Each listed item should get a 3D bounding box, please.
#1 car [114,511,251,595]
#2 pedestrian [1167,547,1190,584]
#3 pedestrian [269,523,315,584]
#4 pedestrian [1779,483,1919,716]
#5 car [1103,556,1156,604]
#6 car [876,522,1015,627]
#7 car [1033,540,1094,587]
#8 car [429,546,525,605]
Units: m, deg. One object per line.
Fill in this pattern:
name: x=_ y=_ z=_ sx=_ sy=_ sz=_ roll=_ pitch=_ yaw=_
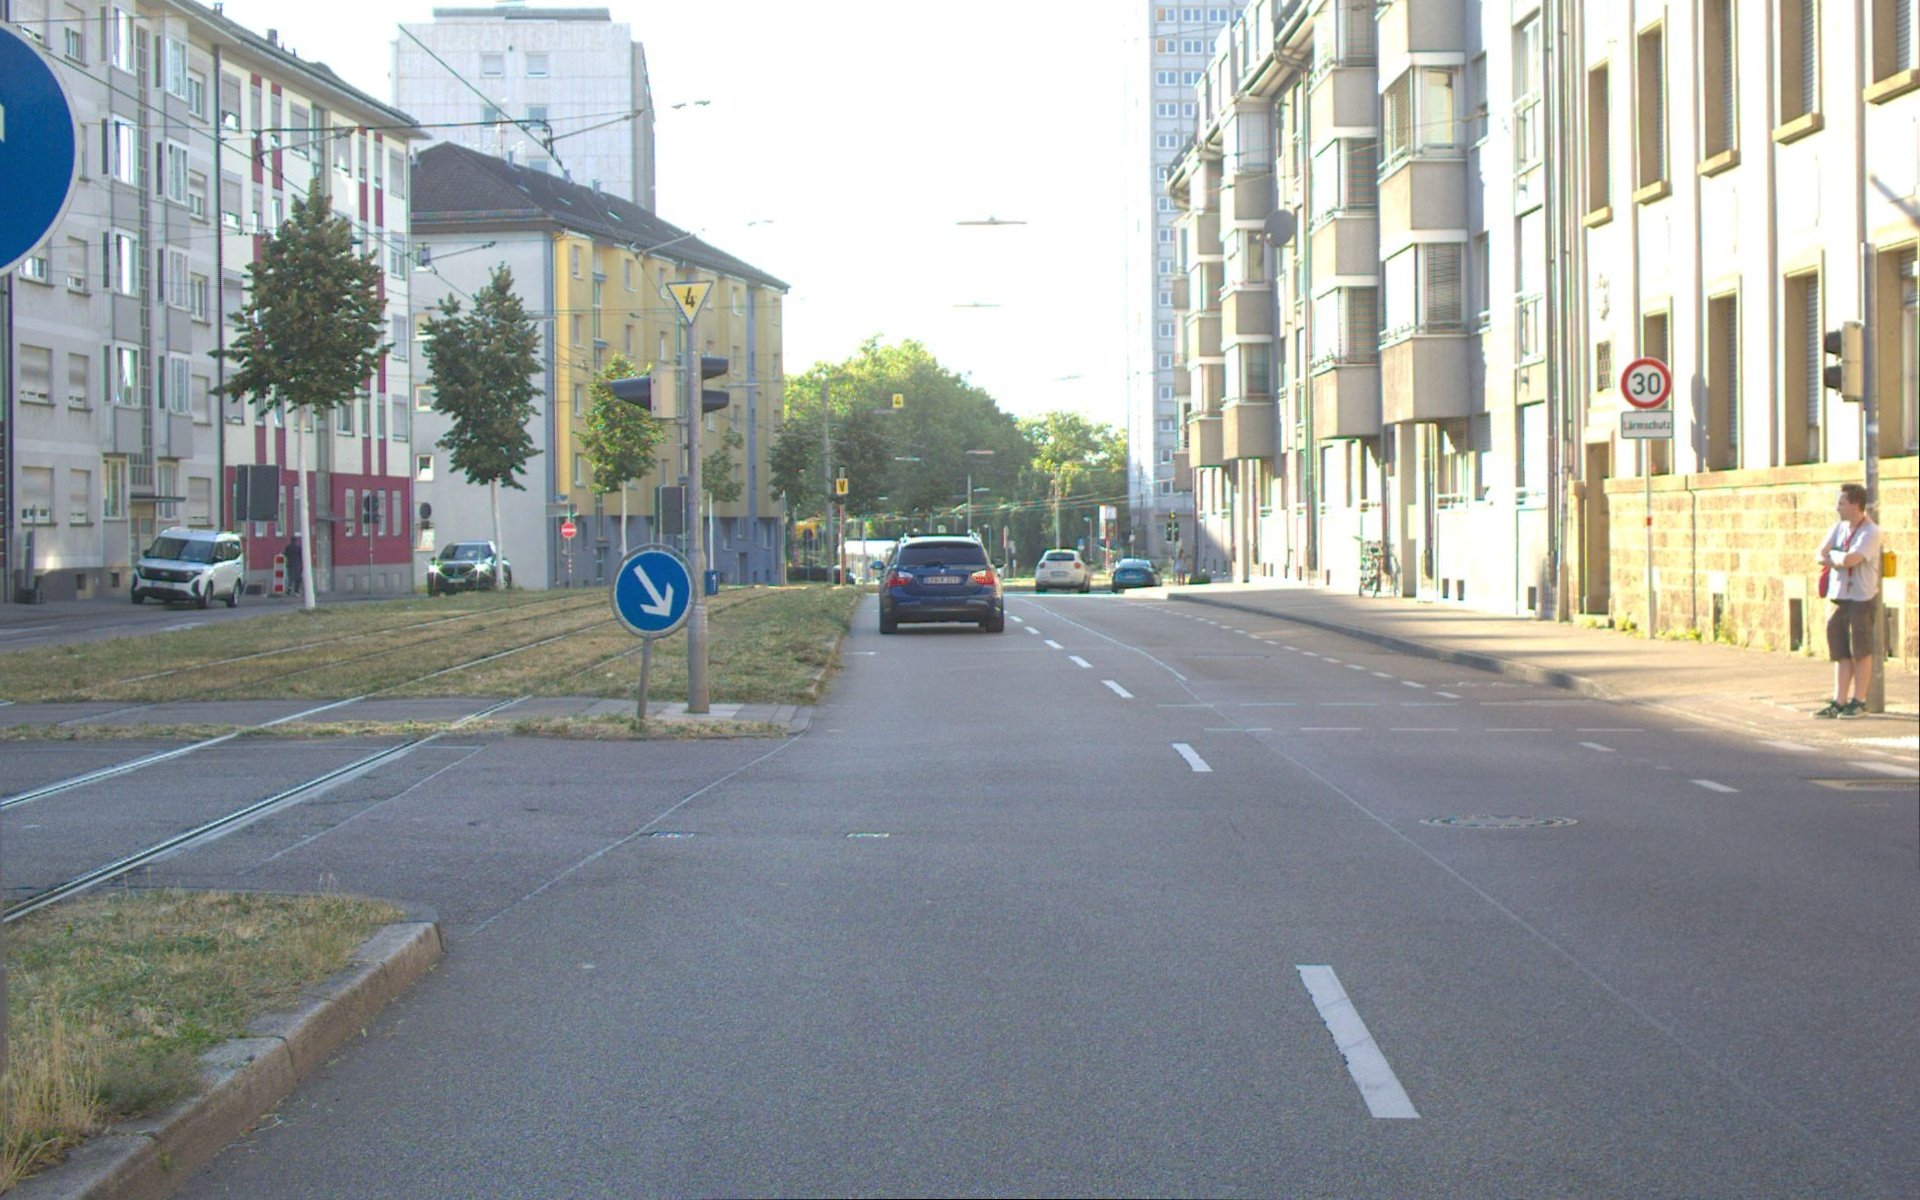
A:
car: x=-18.397 y=-1.105 z=81.561 sx=1.994 sy=1.918 sz=4.541 roll=1 pitch=1 yaw=3
pedestrian: x=7.248 y=-1.154 z=114.153 sx=0.691 sy=1.230 sz=0.736 roll=1 pitch=0 yaw=-1
pedestrian: x=-19.526 y=-1.363 z=100.541 sx=1.269 sy=1.755 sz=1.274 roll=1 pitch=0 yaw=-10
pedestrian: x=6.833 y=-0.009 z=26.454 sx=0.835 sy=1.756 sz=0.824 roll=1 pitch=0 yaw=-1
car: x=7.268 y=-0.867 z=147.955 sx=1.993 sy=2.007 sz=4.000 roll=-1 pitch=1 yaw=-1
car: x=-0.228 y=-0.382 z=50.487 sx=1.926 sy=1.451 sz=4.328 roll=1 pitch=1 yaw=-1
car: x=3.550 y=-1.267 z=118.655 sx=1.993 sy=1.558 sz=4.000 roll=1 pitch=1 yaw=1
car: x=-14.137 y=-0.740 z=100.905 sx=1.897 sy=1.628 sz=4.747 roll=-1 pitch=1 yaw=3
